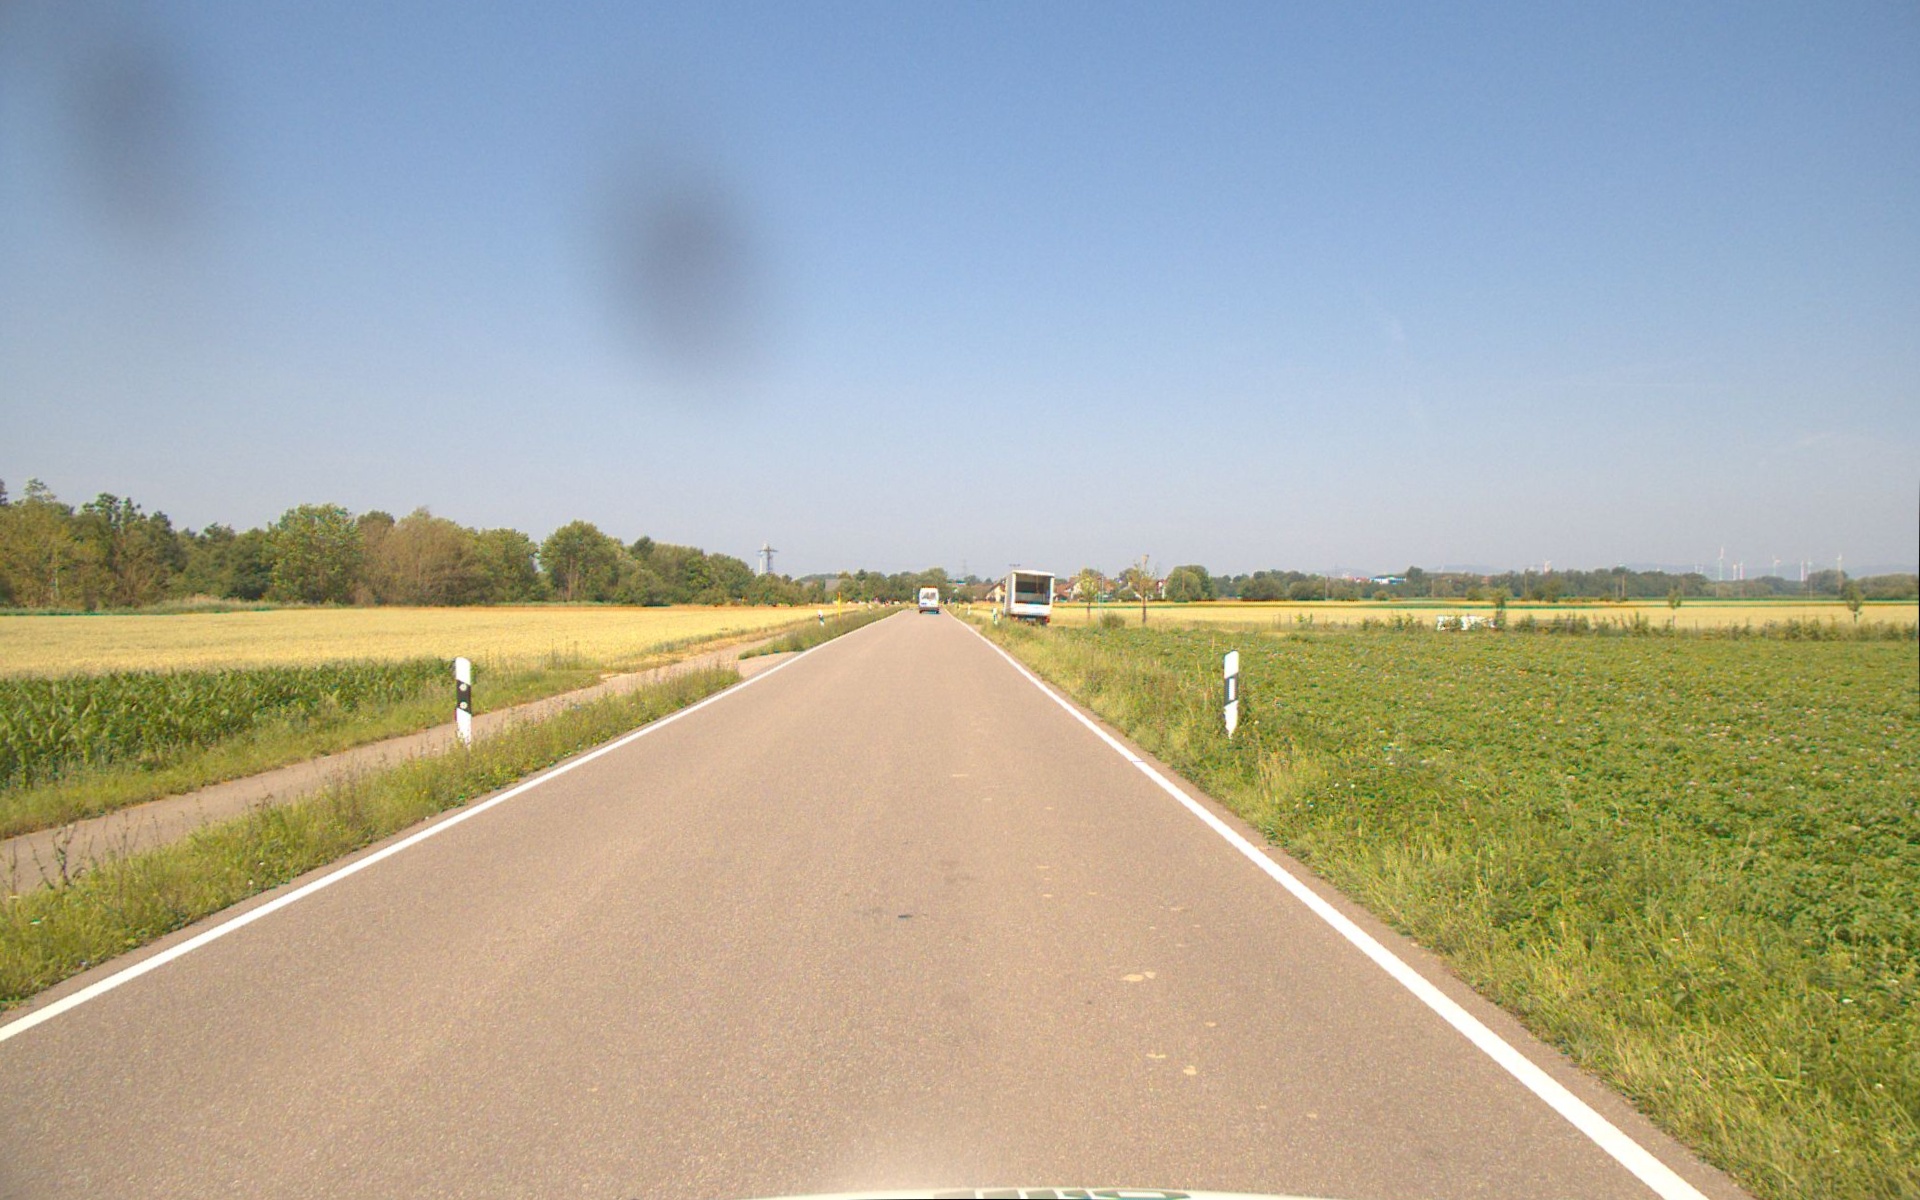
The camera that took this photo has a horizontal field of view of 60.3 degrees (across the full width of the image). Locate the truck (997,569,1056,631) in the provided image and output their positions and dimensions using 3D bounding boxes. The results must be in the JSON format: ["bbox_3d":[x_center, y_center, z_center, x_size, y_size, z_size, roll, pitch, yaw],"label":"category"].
[{"bbox_3d":[3.391,0.001,86.052,2.289,2.994,7.004,3,0,-3],"label":"truck"}]

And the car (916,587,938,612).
[{"bbox_3d":[-3.300,-0.052,165.474,2.064,2.344,5.494,2,0,-1],"label":"car"}]

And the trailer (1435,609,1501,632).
[{"bbox_3d":[29.857,1.218,97.253,3.509,1.210,1.665,2,0,11],"label":"trailer"}]
